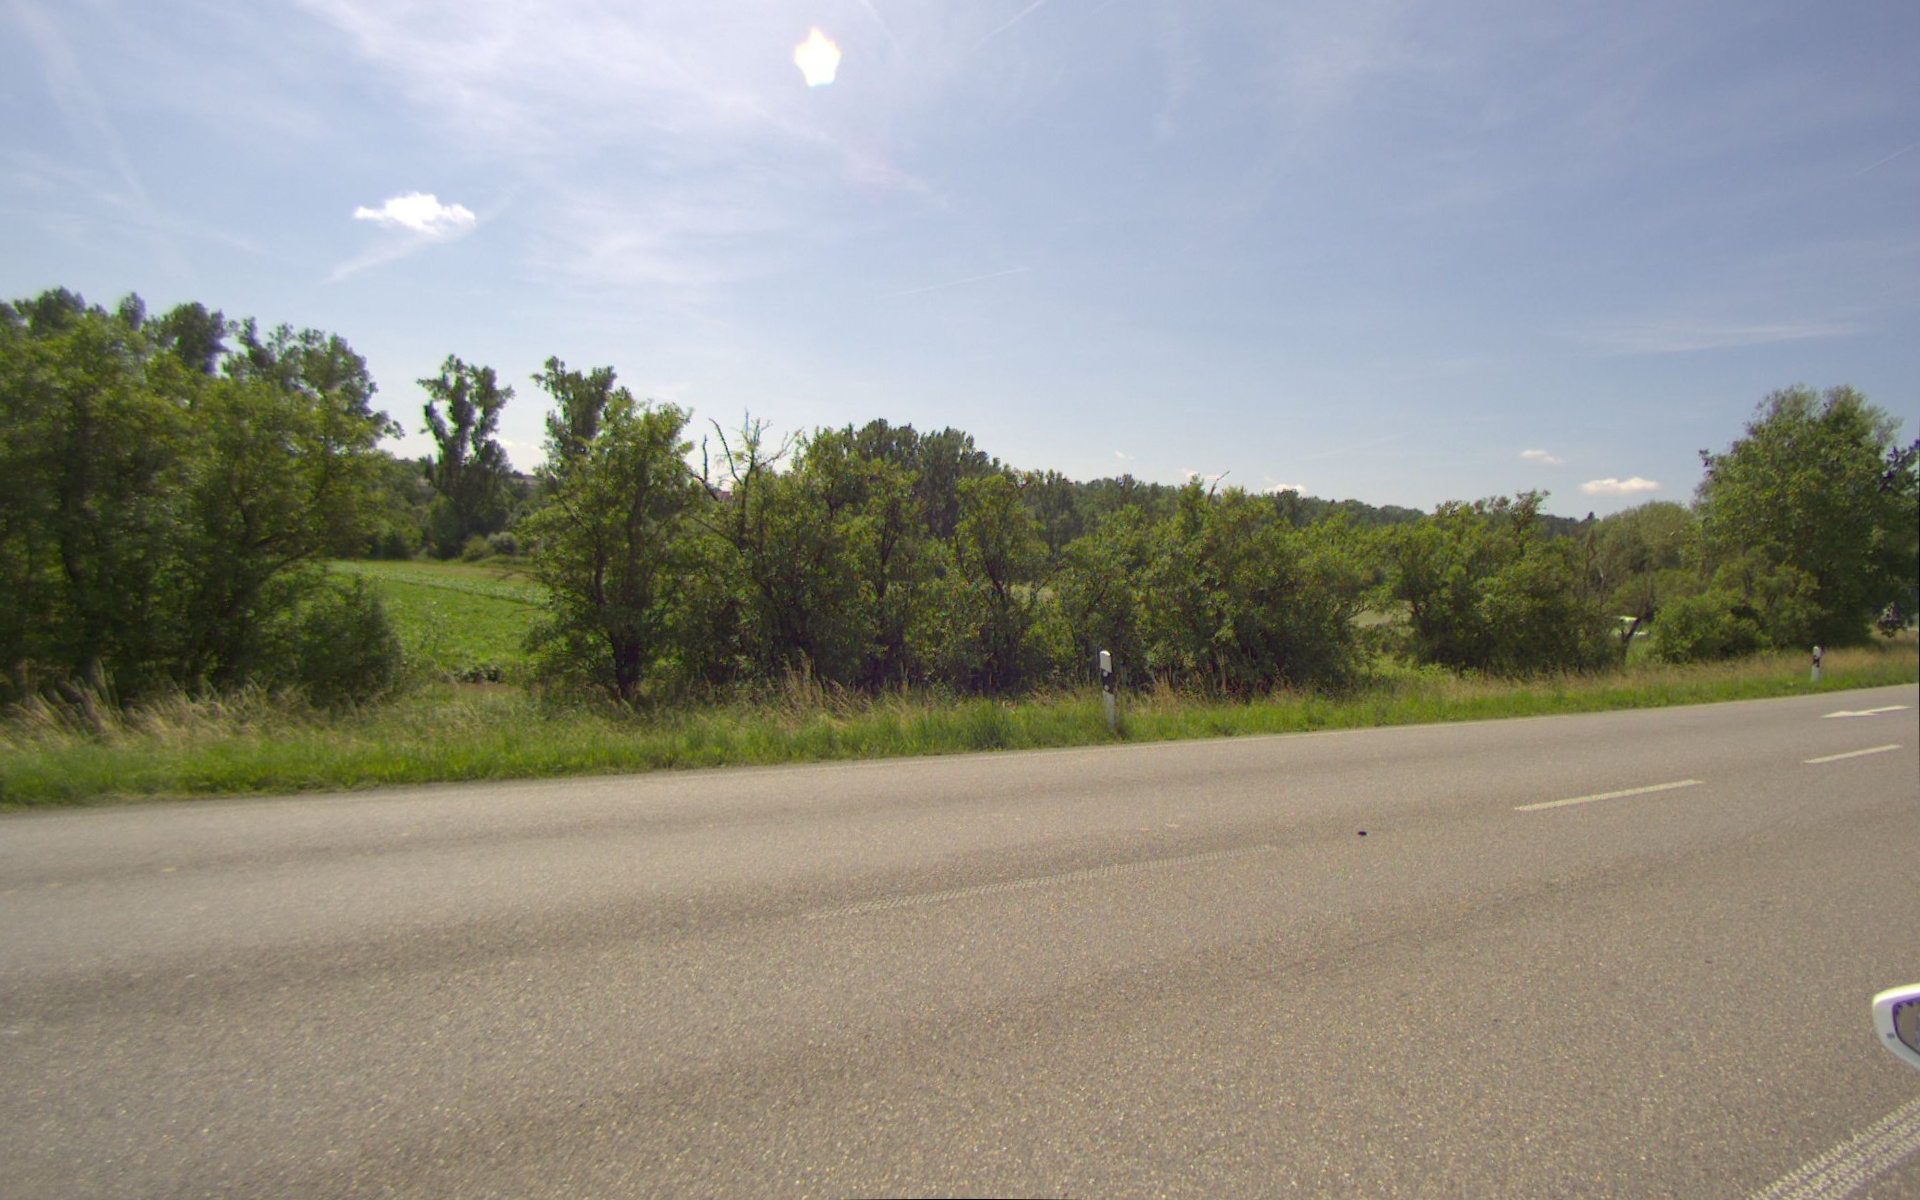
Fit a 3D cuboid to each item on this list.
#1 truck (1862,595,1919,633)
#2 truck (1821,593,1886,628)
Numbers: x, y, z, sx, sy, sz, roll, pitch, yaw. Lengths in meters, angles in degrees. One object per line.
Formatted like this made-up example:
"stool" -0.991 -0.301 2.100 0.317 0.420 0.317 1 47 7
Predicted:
"truck" 114.662 1.838 123.109 3.586 4.184 13.066 4 1 32
"truck" 122.147 1.490 137.538 3.477 4.296 13.384 4 1 29
